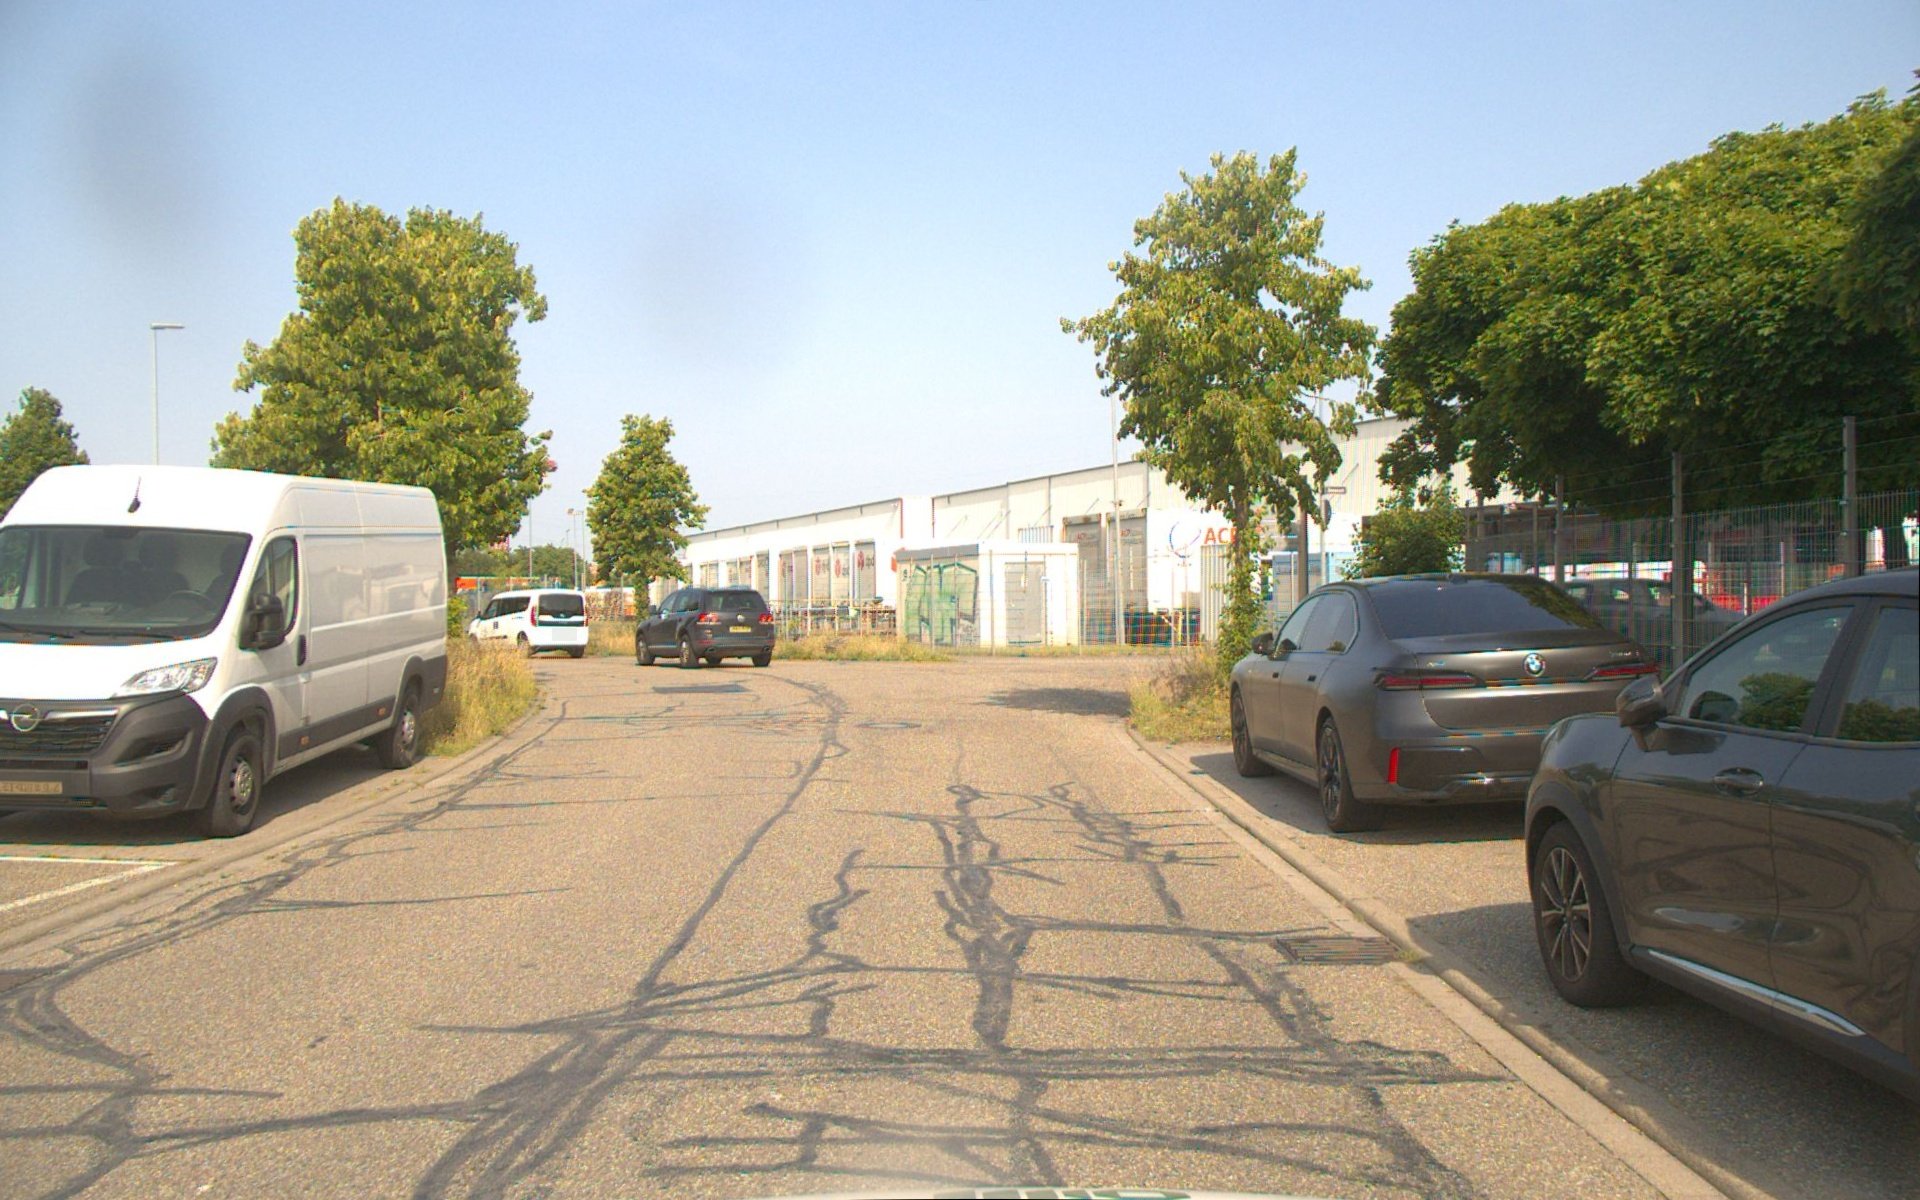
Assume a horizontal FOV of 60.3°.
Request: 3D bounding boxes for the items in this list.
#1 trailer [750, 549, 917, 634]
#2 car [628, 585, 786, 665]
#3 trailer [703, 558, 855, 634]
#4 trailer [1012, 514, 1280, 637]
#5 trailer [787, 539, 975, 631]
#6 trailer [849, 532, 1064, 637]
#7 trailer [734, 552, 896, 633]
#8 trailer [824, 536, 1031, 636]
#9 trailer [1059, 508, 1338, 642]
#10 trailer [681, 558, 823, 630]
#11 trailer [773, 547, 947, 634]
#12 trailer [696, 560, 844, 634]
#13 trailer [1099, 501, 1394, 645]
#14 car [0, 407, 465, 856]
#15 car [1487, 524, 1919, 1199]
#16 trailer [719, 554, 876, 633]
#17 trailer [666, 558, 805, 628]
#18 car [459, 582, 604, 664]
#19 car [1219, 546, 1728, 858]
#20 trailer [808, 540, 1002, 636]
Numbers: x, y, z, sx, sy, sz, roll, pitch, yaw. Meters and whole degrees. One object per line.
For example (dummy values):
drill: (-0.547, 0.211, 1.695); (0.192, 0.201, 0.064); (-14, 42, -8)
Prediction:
trailer: (-6.316, -0.395, 82.776); (7.860, 3.962, 2.754); (2, 0, -25)
car: (-5.505, 0.533, 35.671); (1.864, 1.614, 4.066); (-1, -1, -33)
trailer: (-9.963, -0.184, 91.160); (7.860, 3.962, 2.754); (2, 0, -25)
trailer: (6.168, -0.750, 54.514); (8.619, 3.827, 2.769); (0, -1, -25)
trailer: (-3.620, -0.637, 76.432); (8.201, 3.962, 2.754); (2, 0, -25)
trailer: (-0.103, -0.581, 67.940); (8.426, 3.962, 2.754); (2, 0, -25)
trailer: (-7.463, -0.354, 85.546); (7.860, 3.962, 2.754); (2, 0, -25)
trailer: (-1.360, -0.564, 70.844); (8.426, 3.962, 2.754); (2, 0, -25)
trailer: (7.498, -0.813, 51.807); (8.421, 3.961, 2.756); (-1, 0, -24)
trailer: (-12.264, -0.332, 97.758); (7.860, 3.962, 2.754); (2, 0, -25)
trailer: (-4.830, -0.424, 80.203); (7.930, 3.962, 2.754); (2, 0, -25)
trailer: (-10.814, -0.134, 94.281); (7.860, 3.962, 2.754); (2, 0, -25)
trailer: (8.521, -0.748, 49.025); (8.418, 3.962, 2.756); (0, -3, -23)
car: (-5.754, 0.134, 13.055); (2.060, 2.640, 6.499); (2, 1, -4)
car: (3.127, 0.598, 4.707); (1.842, 1.601, 4.112); (-2, 0, -1)
trailer: (-8.647, -0.335, 88.390); (7.860, 3.962, 2.754); (2, 0, -25)
trailer: (-13.634, -0.389, 100.380); (7.860, 3.962, 2.754); (2, 0, -25)
car: (-11.966, 0.637, 46.009); (2.110, 2.147, 4.554); (0, -1, -41)
car: (3.178, 0.567, 11.491); (1.842, 1.601, 5.117); (-2, 0, -1)
trailer: (-2.417, -0.479, 73.640); (8.201, 3.962, 2.754); (2, 0, -25)
